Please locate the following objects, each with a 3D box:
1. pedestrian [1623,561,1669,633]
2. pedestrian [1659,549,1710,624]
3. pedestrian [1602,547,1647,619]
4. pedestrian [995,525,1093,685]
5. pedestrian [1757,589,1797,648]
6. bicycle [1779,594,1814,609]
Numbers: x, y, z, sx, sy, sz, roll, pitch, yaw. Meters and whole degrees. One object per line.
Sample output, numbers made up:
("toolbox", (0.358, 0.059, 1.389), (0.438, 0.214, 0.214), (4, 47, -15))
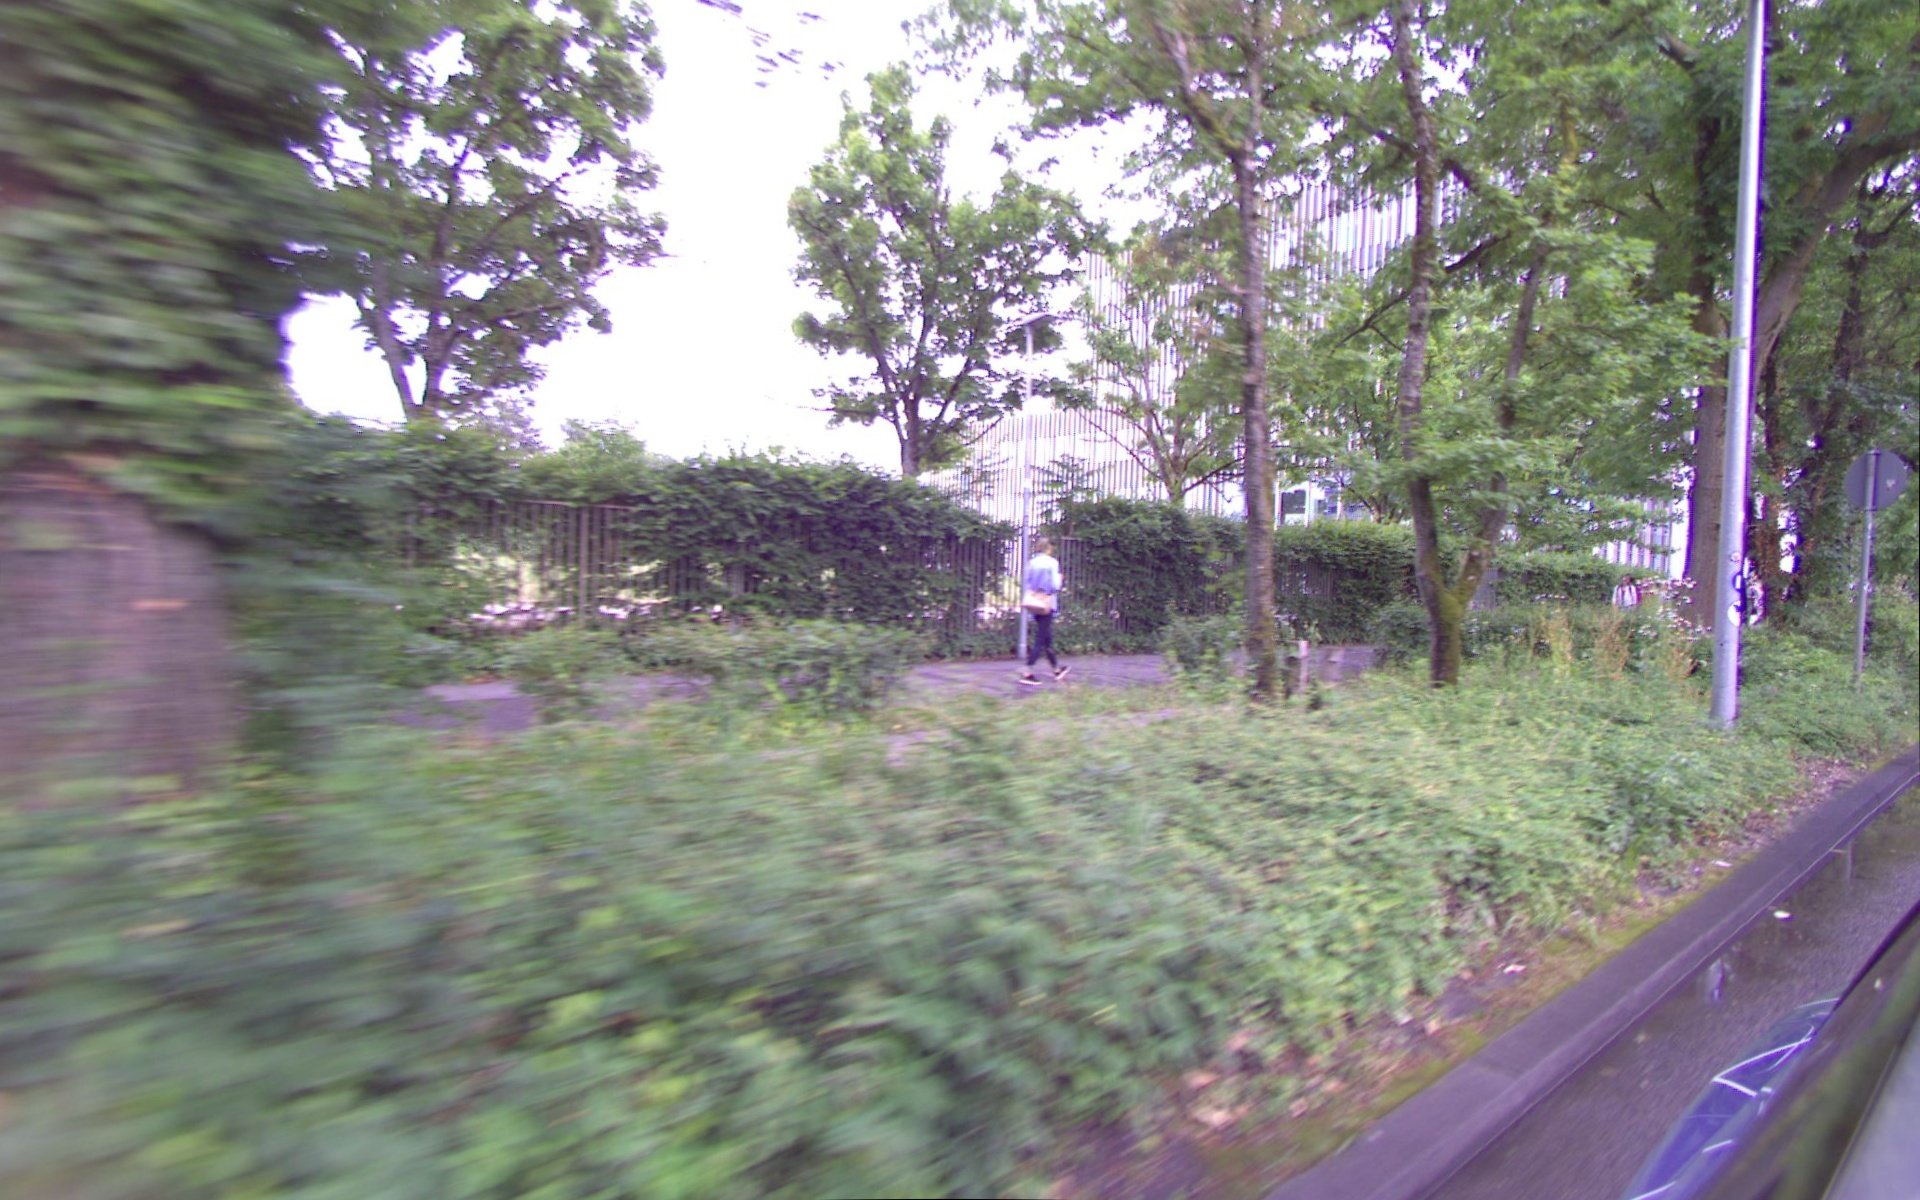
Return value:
("pedestrian", (19.988, -0.100, 29.497), (0.708, 2.038, 0.826), (1, 3, -41))
("pedestrian", (20.326, -0.394, 28.388), (1.023, 2.038, 0.926), (1, 3, -45))
("pedestrian", (19.254, -0.506, 29.339), (0.708, 2.038, 0.825), (1, 3, -41))
("pedestrian", (0.931, 0.042, 11.214), (0.806, 1.671, 0.574), (1, 4, -41))
("pedestrian", (29.188, 0.642, 36.170), (1.023, 2.038, 0.926), (1, 3, -45))
("bicycle", (61.787, 0.098, 74.763), (1.840, 0.941, 0.679), (4, 1, 11))
